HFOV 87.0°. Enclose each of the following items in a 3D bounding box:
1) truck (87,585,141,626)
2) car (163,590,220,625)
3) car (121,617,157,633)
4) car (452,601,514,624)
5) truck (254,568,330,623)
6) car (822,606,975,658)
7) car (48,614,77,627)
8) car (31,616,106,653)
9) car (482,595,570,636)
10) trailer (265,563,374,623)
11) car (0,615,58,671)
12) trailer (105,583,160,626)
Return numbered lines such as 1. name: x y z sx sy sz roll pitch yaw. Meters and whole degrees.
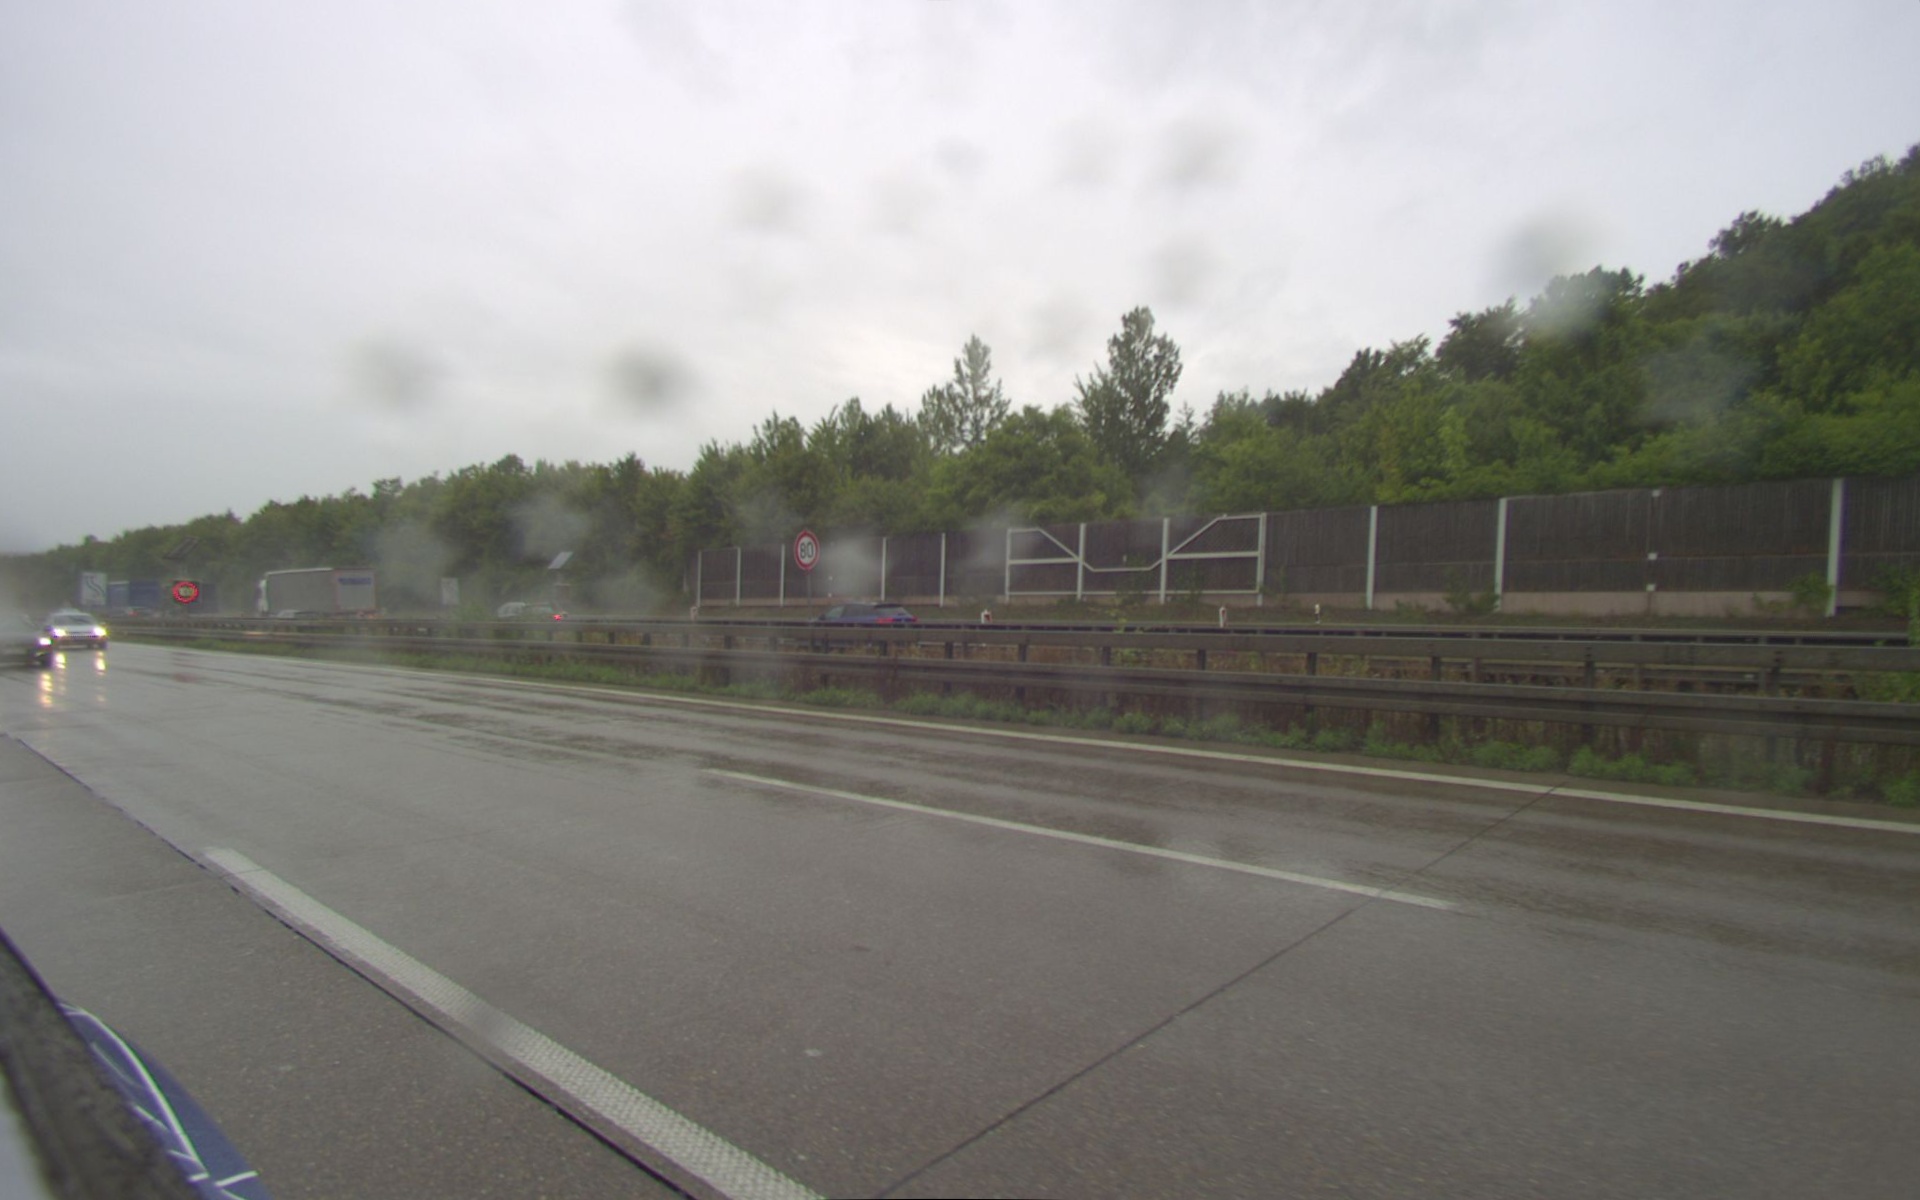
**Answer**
1. truck: -92.129 0.606 110.124 10.172 4.185 2.819 -1 1 41
2. car: -61.081 0.597 80.393 7.442 2.586 2.160 -1 1 42
3. car: -72.641 2.203 89.524 4.422 1.349 1.735 -1 1 41
4. car: -28.848 0.752 61.136 4.341 1.313 1.735 -1 1 41
5. truck: -49.569 -0.306 75.002 7.678 3.830 2.746 -1 1 42
6. car: -1.815 0.866 28.736 4.341 1.313 1.735 -1 1 41
7. car: -94.793 2.168 106.858 4.422 1.349 1.735 -1 1 41
8. car: -36.344 1.382 41.233 4.346 1.445 1.650 -1 -1 40
9. car: -18.761 0.669 43.665 3.998 1.697 1.973 -1 -1 41
10. trailer: -45.114 -0.390 70.974 13.773 3.830 2.738 -1 1 42
11. car: -26.745 1.157 28.183 4.517 1.445 1.908 -1 -2 42
12. trailer: -85.049 0.469 103.969 8.520 4.185 2.819 -1 1 41
